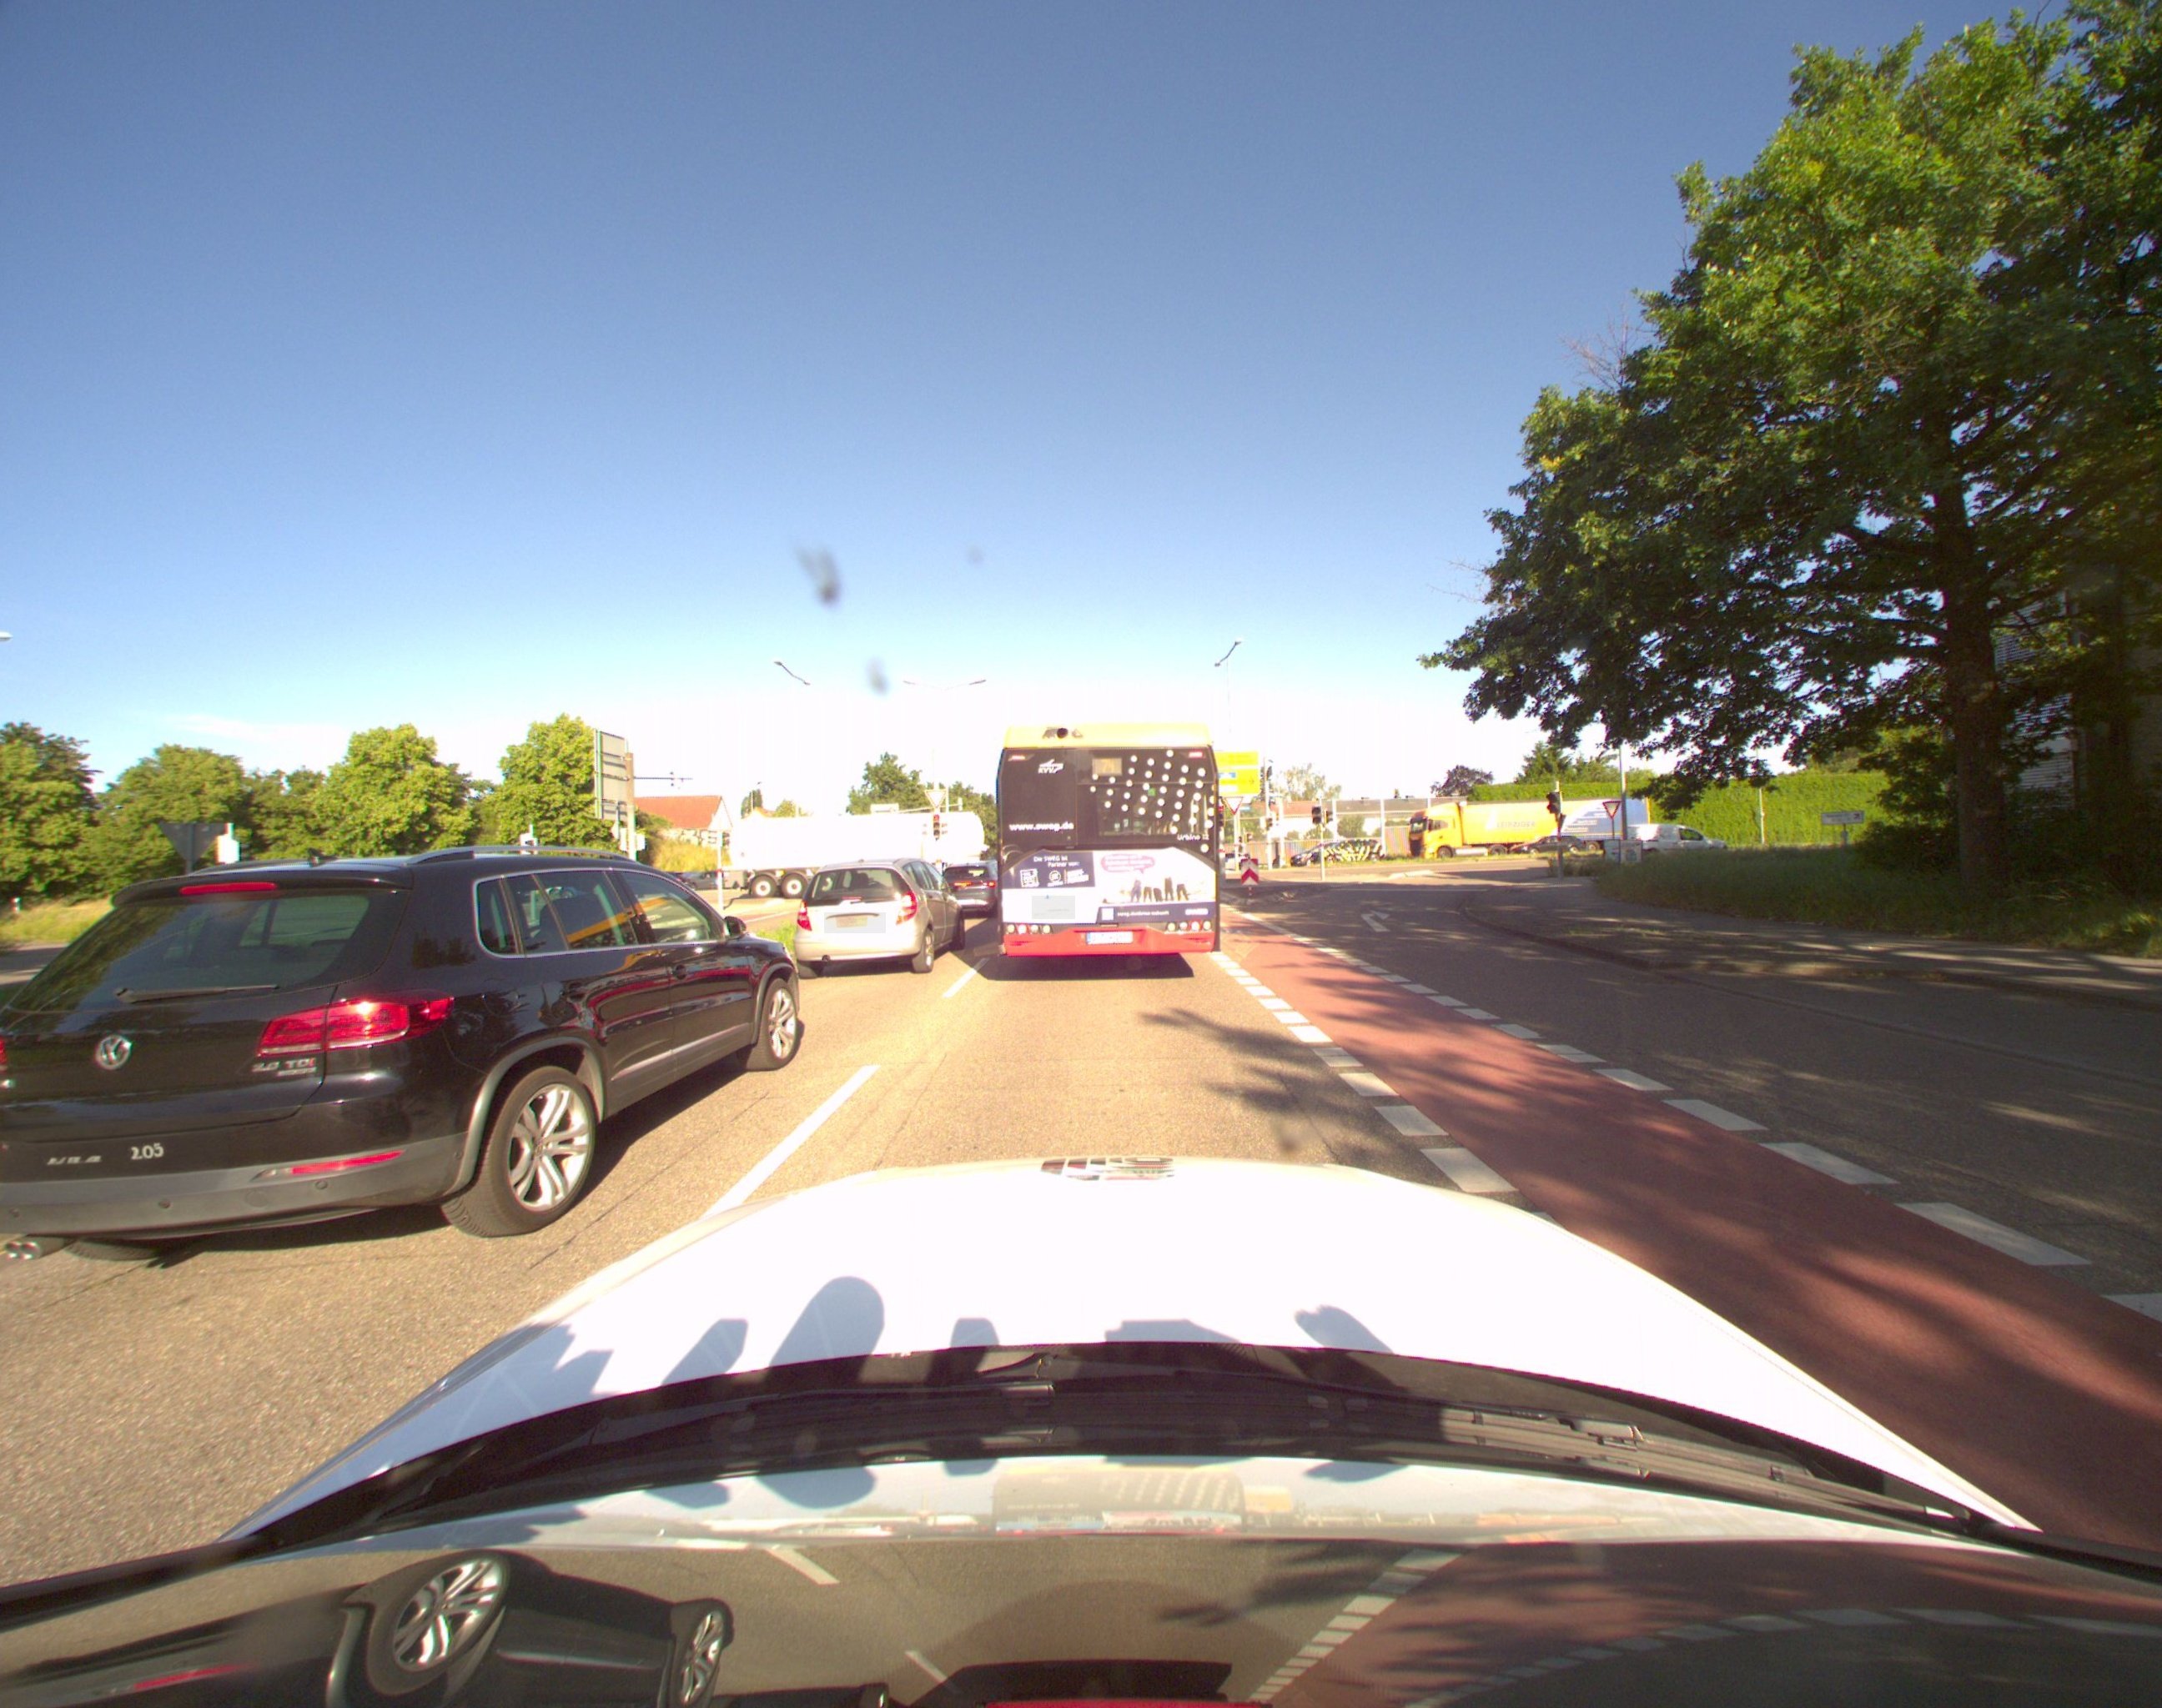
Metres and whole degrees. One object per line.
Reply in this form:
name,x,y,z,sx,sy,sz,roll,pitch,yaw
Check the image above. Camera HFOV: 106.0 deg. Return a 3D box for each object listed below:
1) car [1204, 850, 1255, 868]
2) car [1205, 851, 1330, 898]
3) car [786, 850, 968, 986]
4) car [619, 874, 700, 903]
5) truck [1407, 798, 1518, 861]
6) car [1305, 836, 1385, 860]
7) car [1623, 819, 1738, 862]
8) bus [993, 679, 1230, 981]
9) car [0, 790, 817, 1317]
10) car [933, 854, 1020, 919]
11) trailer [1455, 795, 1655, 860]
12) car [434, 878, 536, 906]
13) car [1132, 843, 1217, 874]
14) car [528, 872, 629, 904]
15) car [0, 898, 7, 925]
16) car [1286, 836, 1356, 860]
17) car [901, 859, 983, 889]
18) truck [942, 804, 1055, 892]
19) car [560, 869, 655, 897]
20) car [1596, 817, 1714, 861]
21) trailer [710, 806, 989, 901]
car,11.361,0.352,62.163,3.549,1.265,1.362,-2,0,29
car,5.495,0.609,24.224,3.500,1.302,1.579,-1,1,10
car,-2.871,0.804,12.385,1.749,1.620,4.032,-2,1,-1
car,-26.208,2.125,50.750,3.983,1.715,1.995,-1,-1,-7
truck,25.865,-1.627,55.359,6.387,3.998,2.468,-2,0,-5
car,15.402,-0.326,47.561,4.148,1.302,1.573,-1,-1,-2
car,27.823,-0.627,37.912,4.090,1.801,1.460,-2,-1,6
bus,0.528,-0.263,15.060,2.586,3.334,11.988,-1,0,2
car,-3.173,0.708,4.706,1.814,1.673,4.004,-3,-1,1
car,-2.629,0.800,21.211,1.582,1.486,3.684,-2,-1,2
trailer,32.512,-1.814,55.979,12.712,4.030,2.466,-2,0,-5
car,-29.857,1.896,40.862,3.842,1.313,1.504,-1,-1,-7
car,4.931,0.231,43.292,4.212,1.563,1.761,-1,-1,-3
car,-29.092,1.938,47.270,4.522,1.715,1.995,-1,-1,-7
car,-61.805,3.189,44.096,4.417,1.459,1.568,-1,-1,-13
car,15.100,-0.371,51.337,3.980,1.442,1.563,-1,-1,-5
car,-6.792,0.990,39.988,3.843,1.313,1.504,-2,-1,-7
truck,-3.628,-0.264,36.522,4.790,3.695,2.408,-2,0,-3
car,-24.234,1.474,41.774,3.842,1.385,1.678,-1,-1,-7
car,17.870,-0.450,25.361,3.412,1.296,1.449,0,-1,-24
trailer,-9.894,-0.061,35.912,11.462,3.696,2.390,-2,0,-7
